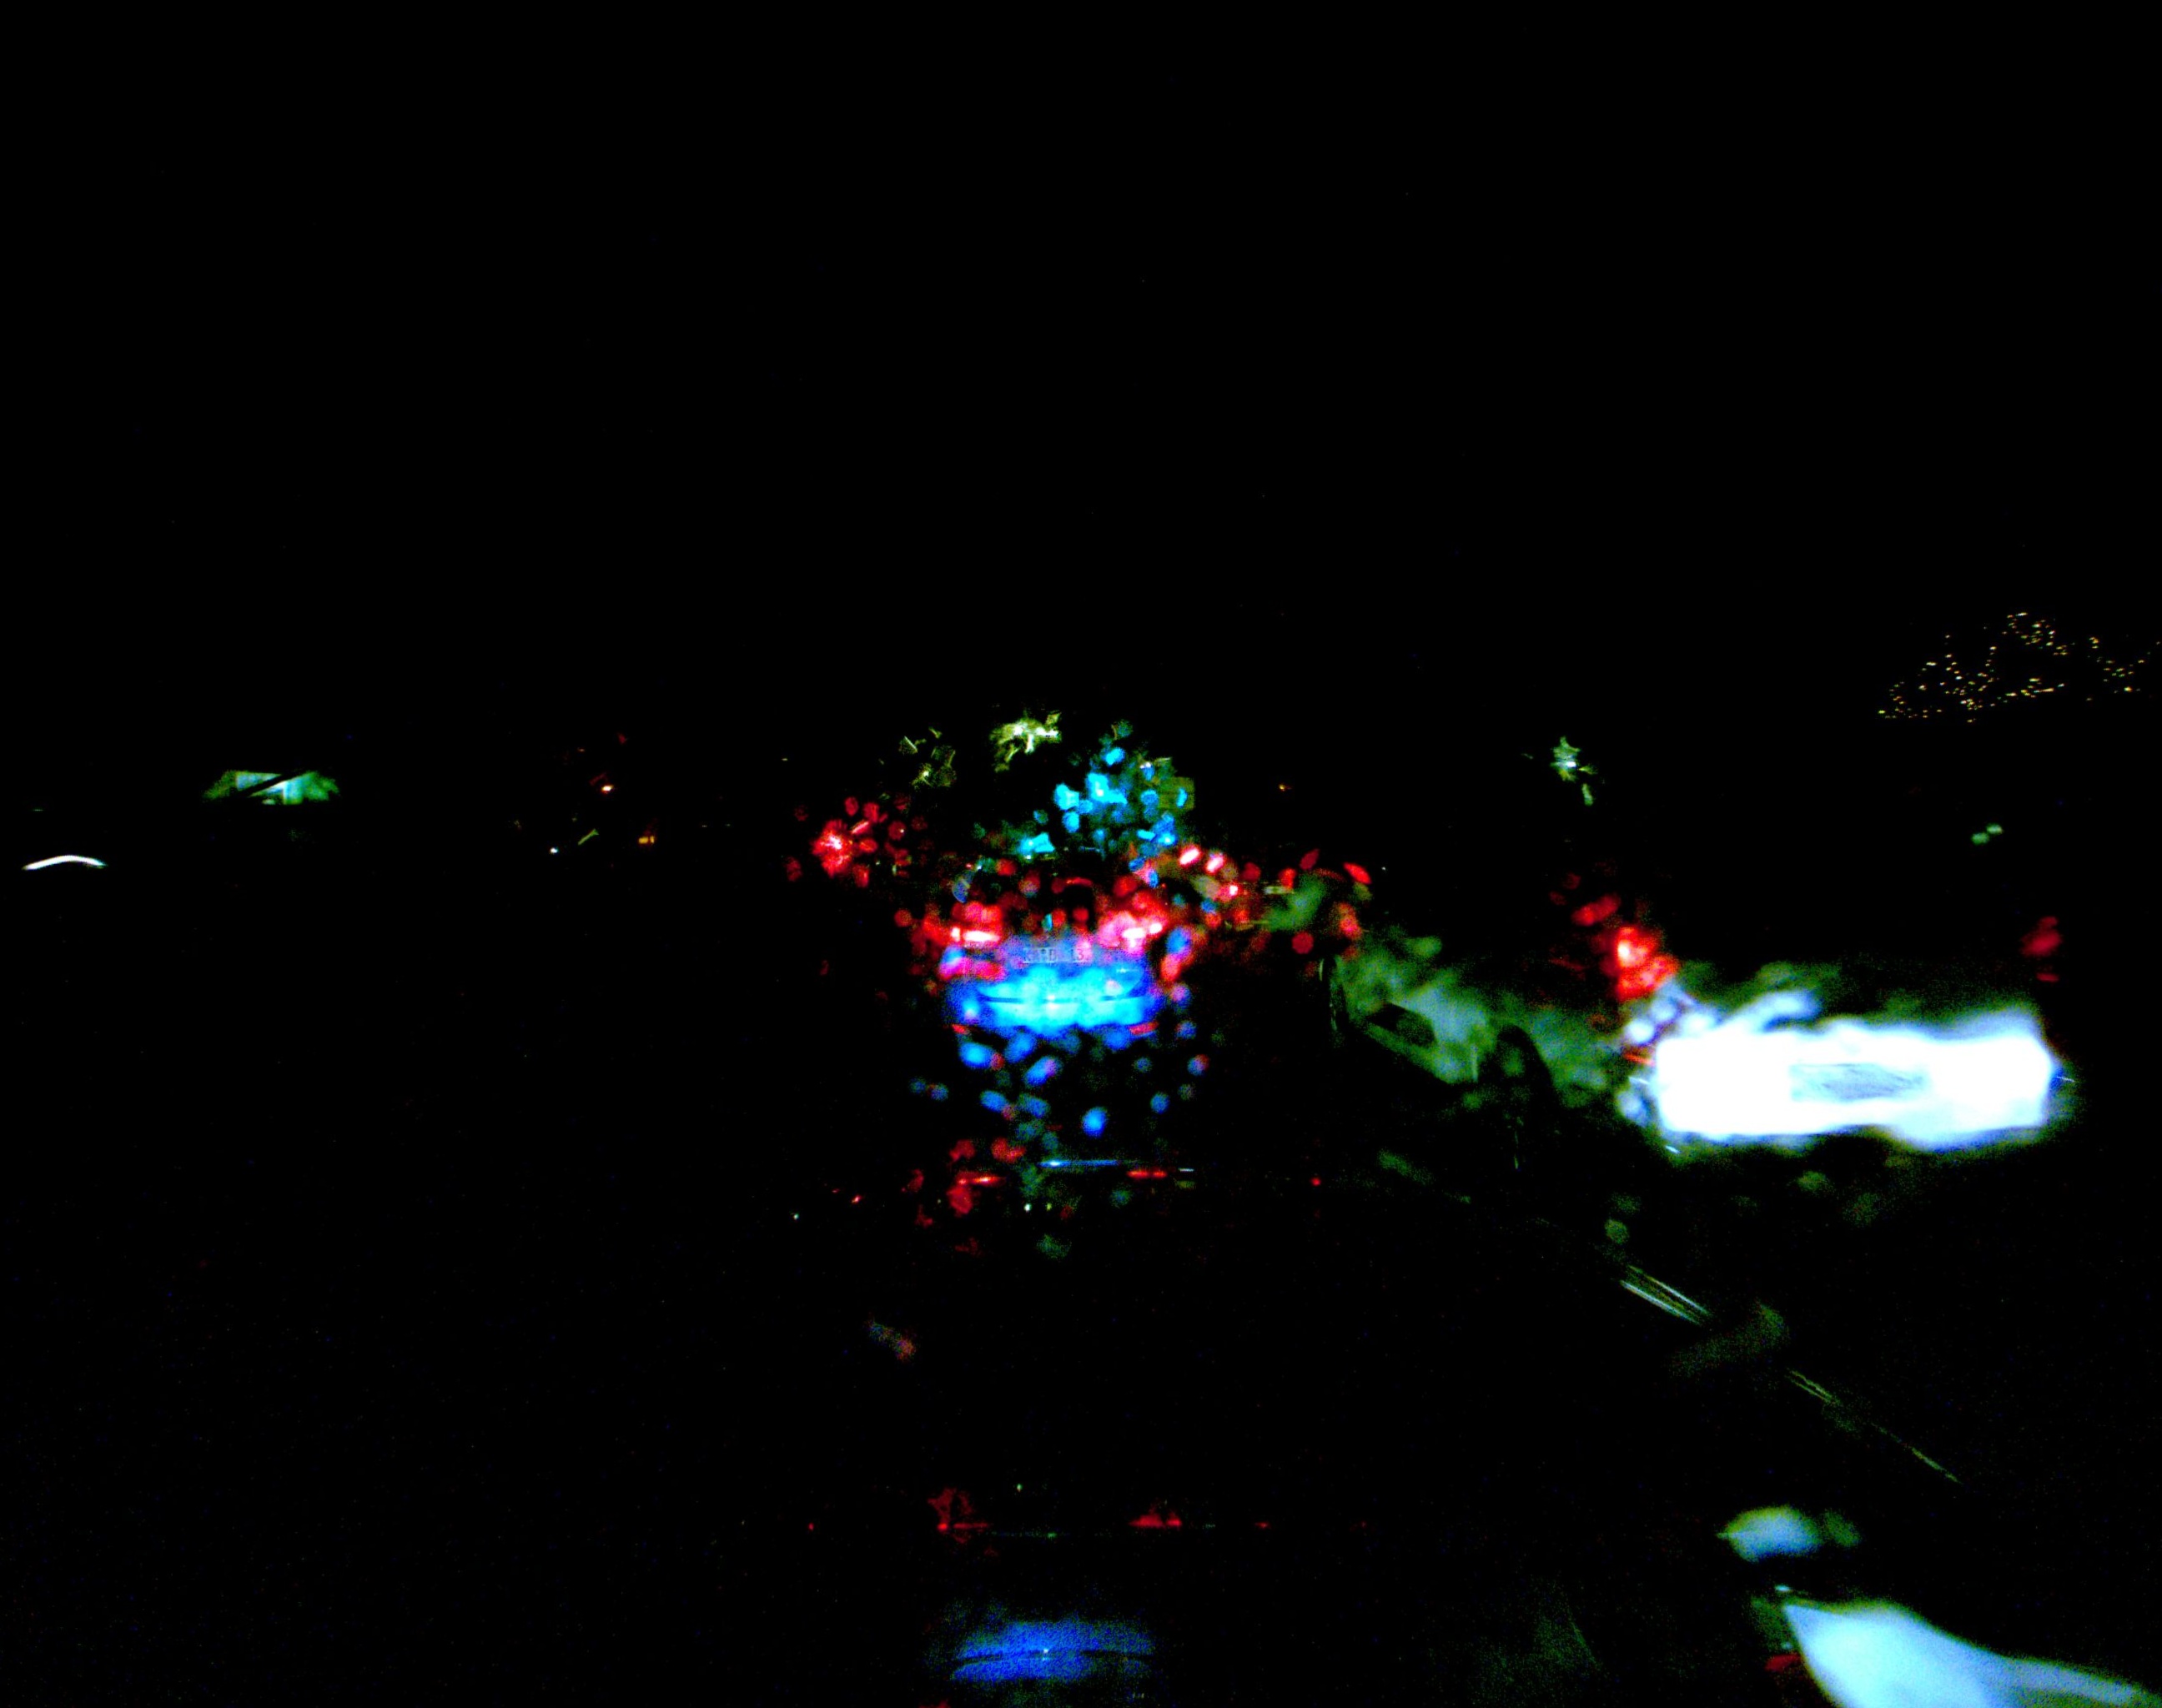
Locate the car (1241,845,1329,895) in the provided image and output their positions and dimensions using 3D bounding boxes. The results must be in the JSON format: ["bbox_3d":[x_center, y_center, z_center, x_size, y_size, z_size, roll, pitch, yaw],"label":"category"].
[{"bbox_3d":[6.561,0.483,26.651,1.779,1.442,4.237,-2,0,0],"label":"car"}]

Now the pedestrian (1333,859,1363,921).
[{"bbox_3d":[7.429,0.995,22.668,0.621,1.701,0.541,0,-1,-1],"label":"pedestrian"}]

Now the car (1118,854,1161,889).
[{"bbox_3d":[2.952,0.878,42.079,1.987,1.670,4.000,0,-1,1],"label":"car"}]

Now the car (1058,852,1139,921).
[{"bbox_3d":[0.487,0.813,21.943,1.986,1.684,4.001,0,-1,2],"label":"car"}]

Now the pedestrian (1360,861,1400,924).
[{"bbox_3d":[8.259,1.041,22.502,0.868,1.701,0.614,0,-1,-24],"label":"pedestrian"}]

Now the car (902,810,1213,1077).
[{"bbox_3d":[-0.095,0.600,7.500,2.007,1.717,4.453,0,-1,1],"label":"car"}]

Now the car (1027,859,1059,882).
[{"bbox_3d":[-3.194,1.377,67.927,1.995,1.824,3.983,0,-1,-12],"label":"car"}]

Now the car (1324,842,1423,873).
[{"bbox_3d":[14.234,0.199,39.706,4.286,1.460,1.863,-1,-1,30],"label":"car"}]

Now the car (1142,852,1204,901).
[{"bbox_3d":[3.410,0.814,30.814,1.986,1.718,4.001,0,-1,2],"label":"car"}]

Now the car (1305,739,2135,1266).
[{"bbox_3d":[2.860,0.549,5.071,1.845,1.865,4.342,0,-1,2],"label":"car"}]

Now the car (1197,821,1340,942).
[{"bbox_3d":[3.471,0.485,15.842,1.961,2.047,4.001,0,-1,2],"label":"car"}]
